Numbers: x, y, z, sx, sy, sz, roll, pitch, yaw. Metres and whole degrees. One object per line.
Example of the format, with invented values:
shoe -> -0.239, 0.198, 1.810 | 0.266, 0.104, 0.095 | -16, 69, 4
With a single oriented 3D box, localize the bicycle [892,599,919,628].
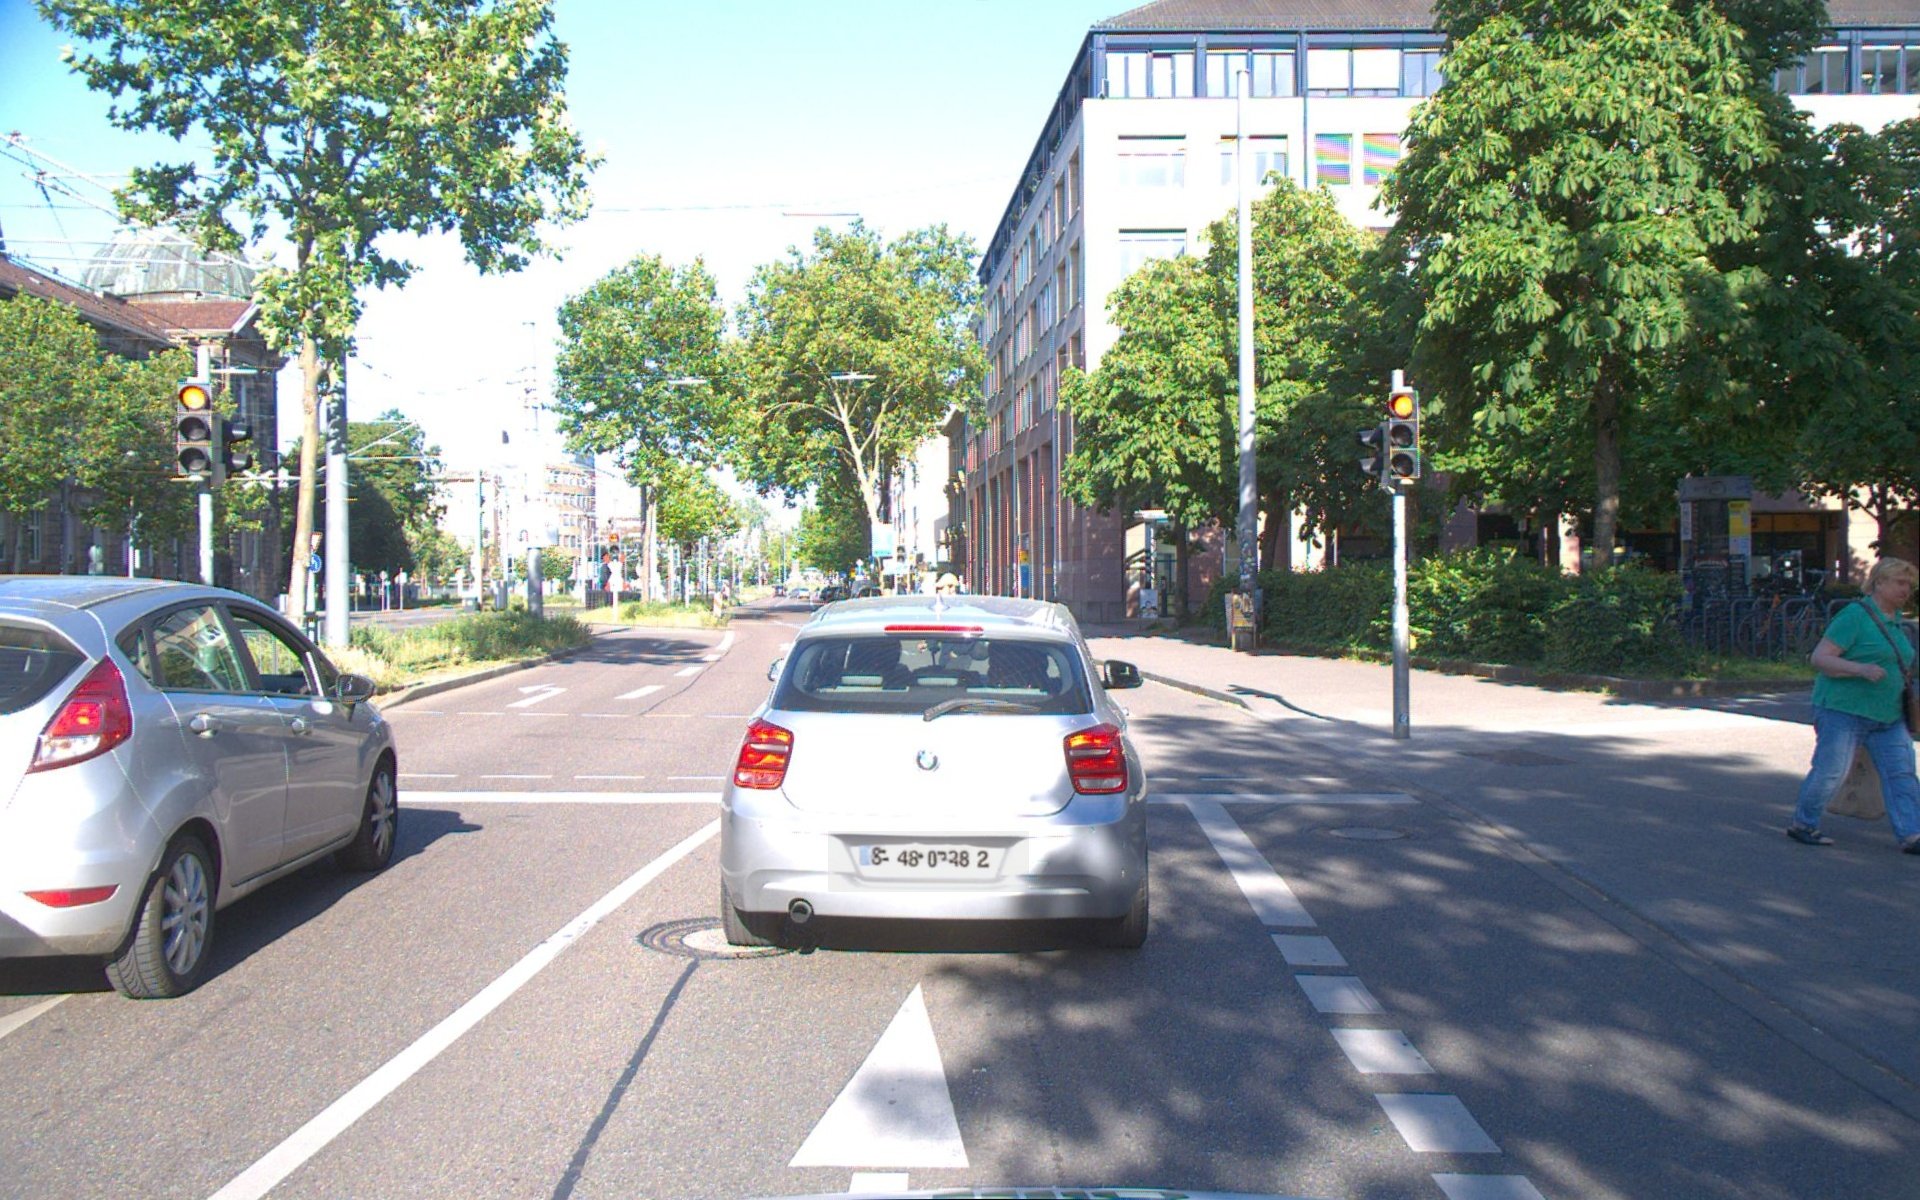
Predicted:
bicycle -> -2.089, 0.515, 63.241 | 0.814, 1.059, 1.875 | -1, 1, 4

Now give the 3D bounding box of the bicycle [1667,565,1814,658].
bicycle -> 11.963, 0.170, 25.372 | 1.956, 1.337, 0.574 | -2, 0, -2

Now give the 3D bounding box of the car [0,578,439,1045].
car -> -3.478, 0.641, 6.866 | 1.627, 1.434, 3.630 | 1, 0, -3

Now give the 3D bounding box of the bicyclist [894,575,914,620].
bicyclist -> -2.125, -0.084, 63.100 | 0.644, 1.686, 0.765 | -1, 0, 4

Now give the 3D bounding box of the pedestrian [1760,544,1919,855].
pedestrian -> 4.985, 0.511, 9.062 | 0.732, 1.603, 0.821 | -1, 0, -39

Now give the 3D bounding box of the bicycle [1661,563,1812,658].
bicycle -> 11.607, 0.154, 24.743 | 1.956, 1.337, 0.574 | -2, 0, -2

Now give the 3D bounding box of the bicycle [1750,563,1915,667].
bicycle -> 12.009, 0.203, 22.795 | 1.956, 1.337, 0.574 | -2, 0, -2

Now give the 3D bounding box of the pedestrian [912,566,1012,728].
pedestrian -> 0.013, 0.480, 17.360 | 0.925, 1.657, 0.626 | 0, 0, -14

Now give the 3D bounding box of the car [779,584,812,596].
car -> -21.343, -1.316, 215.232 | 3.902, 1.512, 2.002 | 0, 0, 7

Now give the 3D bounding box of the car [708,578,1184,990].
car -> 0.026, 0.634, 7.869 | 1.694, 1.414, 3.841 | 1, 1, 2
